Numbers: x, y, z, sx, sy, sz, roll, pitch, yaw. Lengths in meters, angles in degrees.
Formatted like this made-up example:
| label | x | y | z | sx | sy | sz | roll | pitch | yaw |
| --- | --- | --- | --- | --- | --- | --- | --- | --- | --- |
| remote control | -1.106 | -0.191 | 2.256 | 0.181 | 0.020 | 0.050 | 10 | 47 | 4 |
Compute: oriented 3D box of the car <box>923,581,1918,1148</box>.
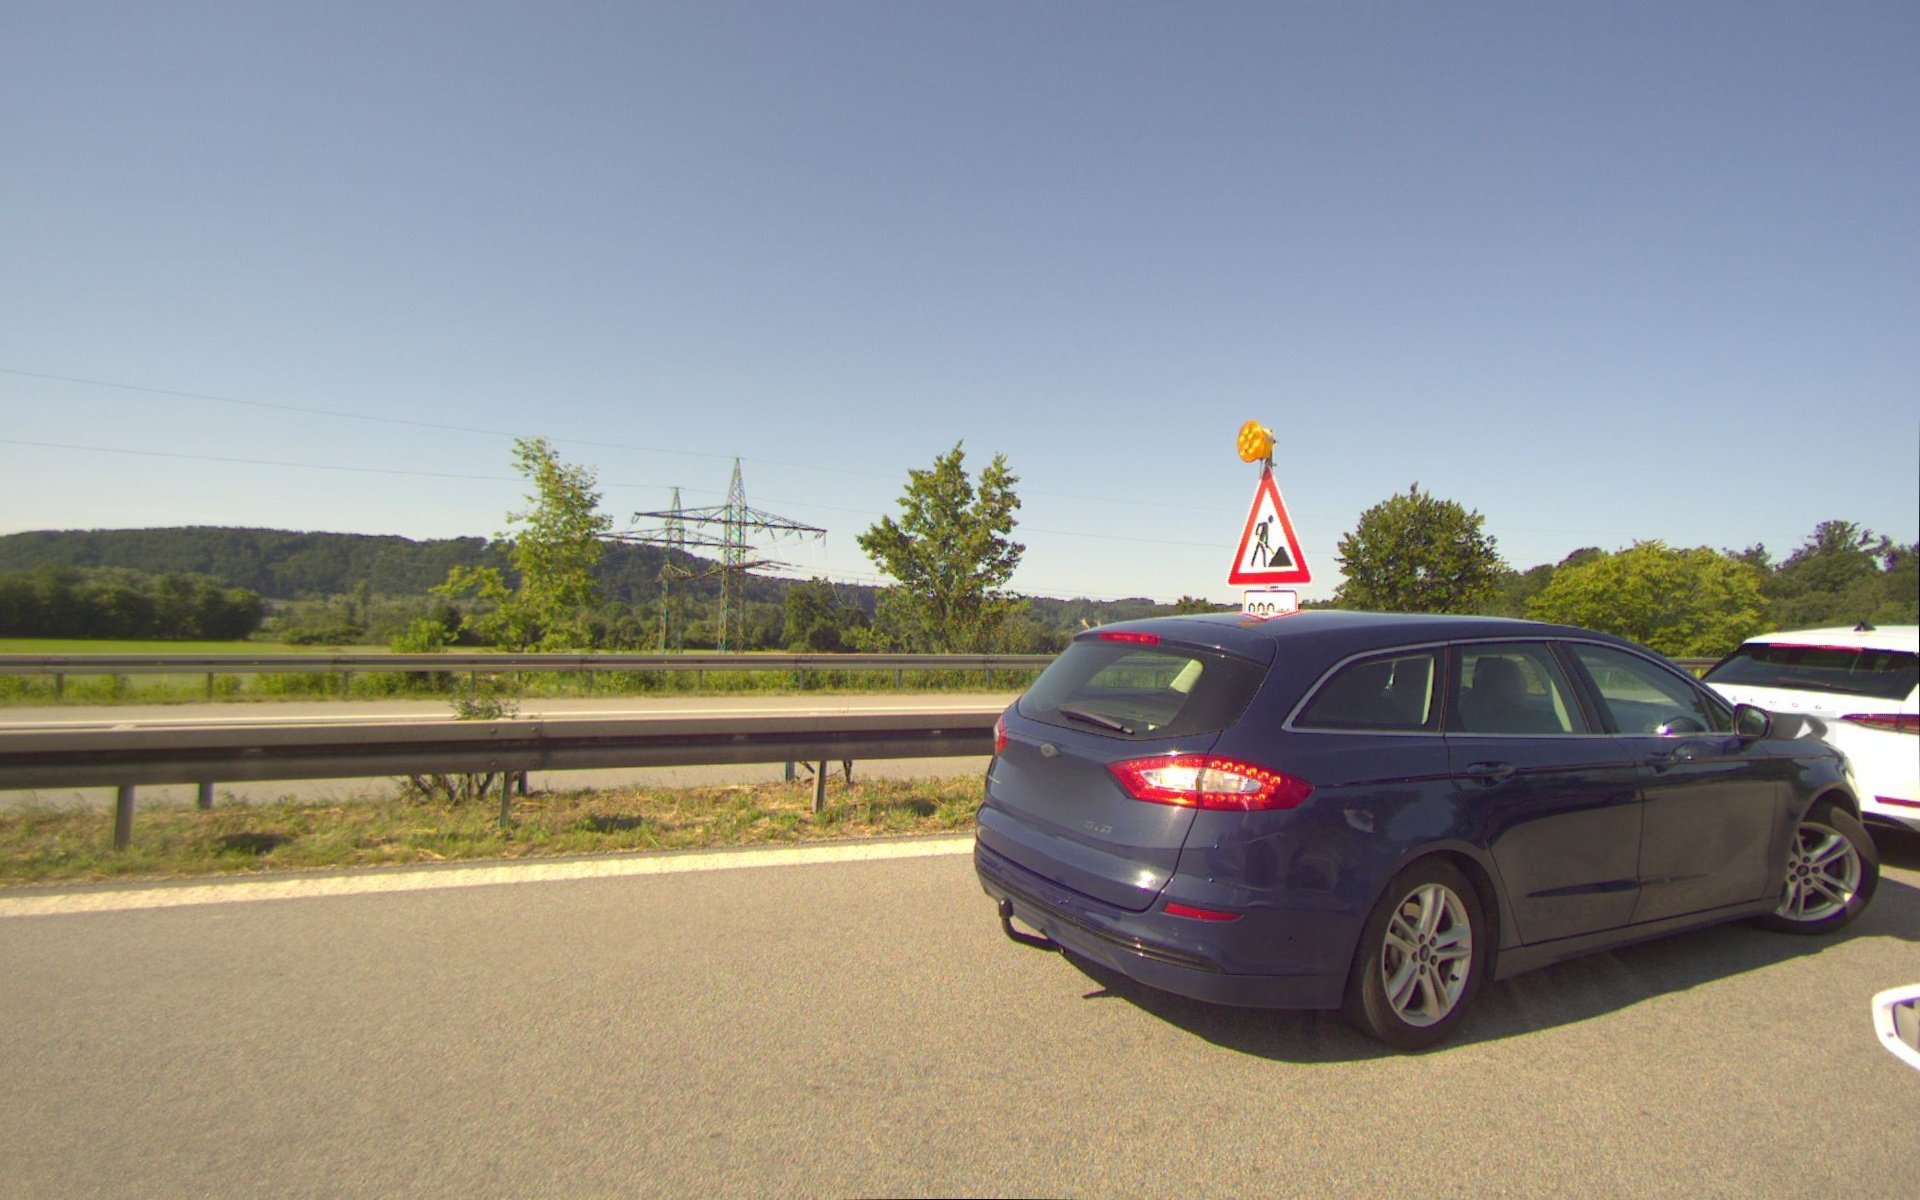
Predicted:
| label | x | y | z | sx | sy | sz | roll | pitch | yaw |
| --- | --- | --- | --- | --- | --- | --- | --- | --- | --- |
| car | 2.212 | 0.766 | 4.532 | 4.437 | 1.513 | 1.781 | 1 | -1 | -28 |

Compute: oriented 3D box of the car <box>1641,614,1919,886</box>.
| label | x | y | z | sx | sy | sz | roll | pitch | yaw |
| --- | --- | --- | --- | --- | --- | --- | --- | --- | --- |
| car | 7.006 | 0.877 | 6.912 | 4.145 | 1.461 | 1.693 | 1 | 0 | -19 |
